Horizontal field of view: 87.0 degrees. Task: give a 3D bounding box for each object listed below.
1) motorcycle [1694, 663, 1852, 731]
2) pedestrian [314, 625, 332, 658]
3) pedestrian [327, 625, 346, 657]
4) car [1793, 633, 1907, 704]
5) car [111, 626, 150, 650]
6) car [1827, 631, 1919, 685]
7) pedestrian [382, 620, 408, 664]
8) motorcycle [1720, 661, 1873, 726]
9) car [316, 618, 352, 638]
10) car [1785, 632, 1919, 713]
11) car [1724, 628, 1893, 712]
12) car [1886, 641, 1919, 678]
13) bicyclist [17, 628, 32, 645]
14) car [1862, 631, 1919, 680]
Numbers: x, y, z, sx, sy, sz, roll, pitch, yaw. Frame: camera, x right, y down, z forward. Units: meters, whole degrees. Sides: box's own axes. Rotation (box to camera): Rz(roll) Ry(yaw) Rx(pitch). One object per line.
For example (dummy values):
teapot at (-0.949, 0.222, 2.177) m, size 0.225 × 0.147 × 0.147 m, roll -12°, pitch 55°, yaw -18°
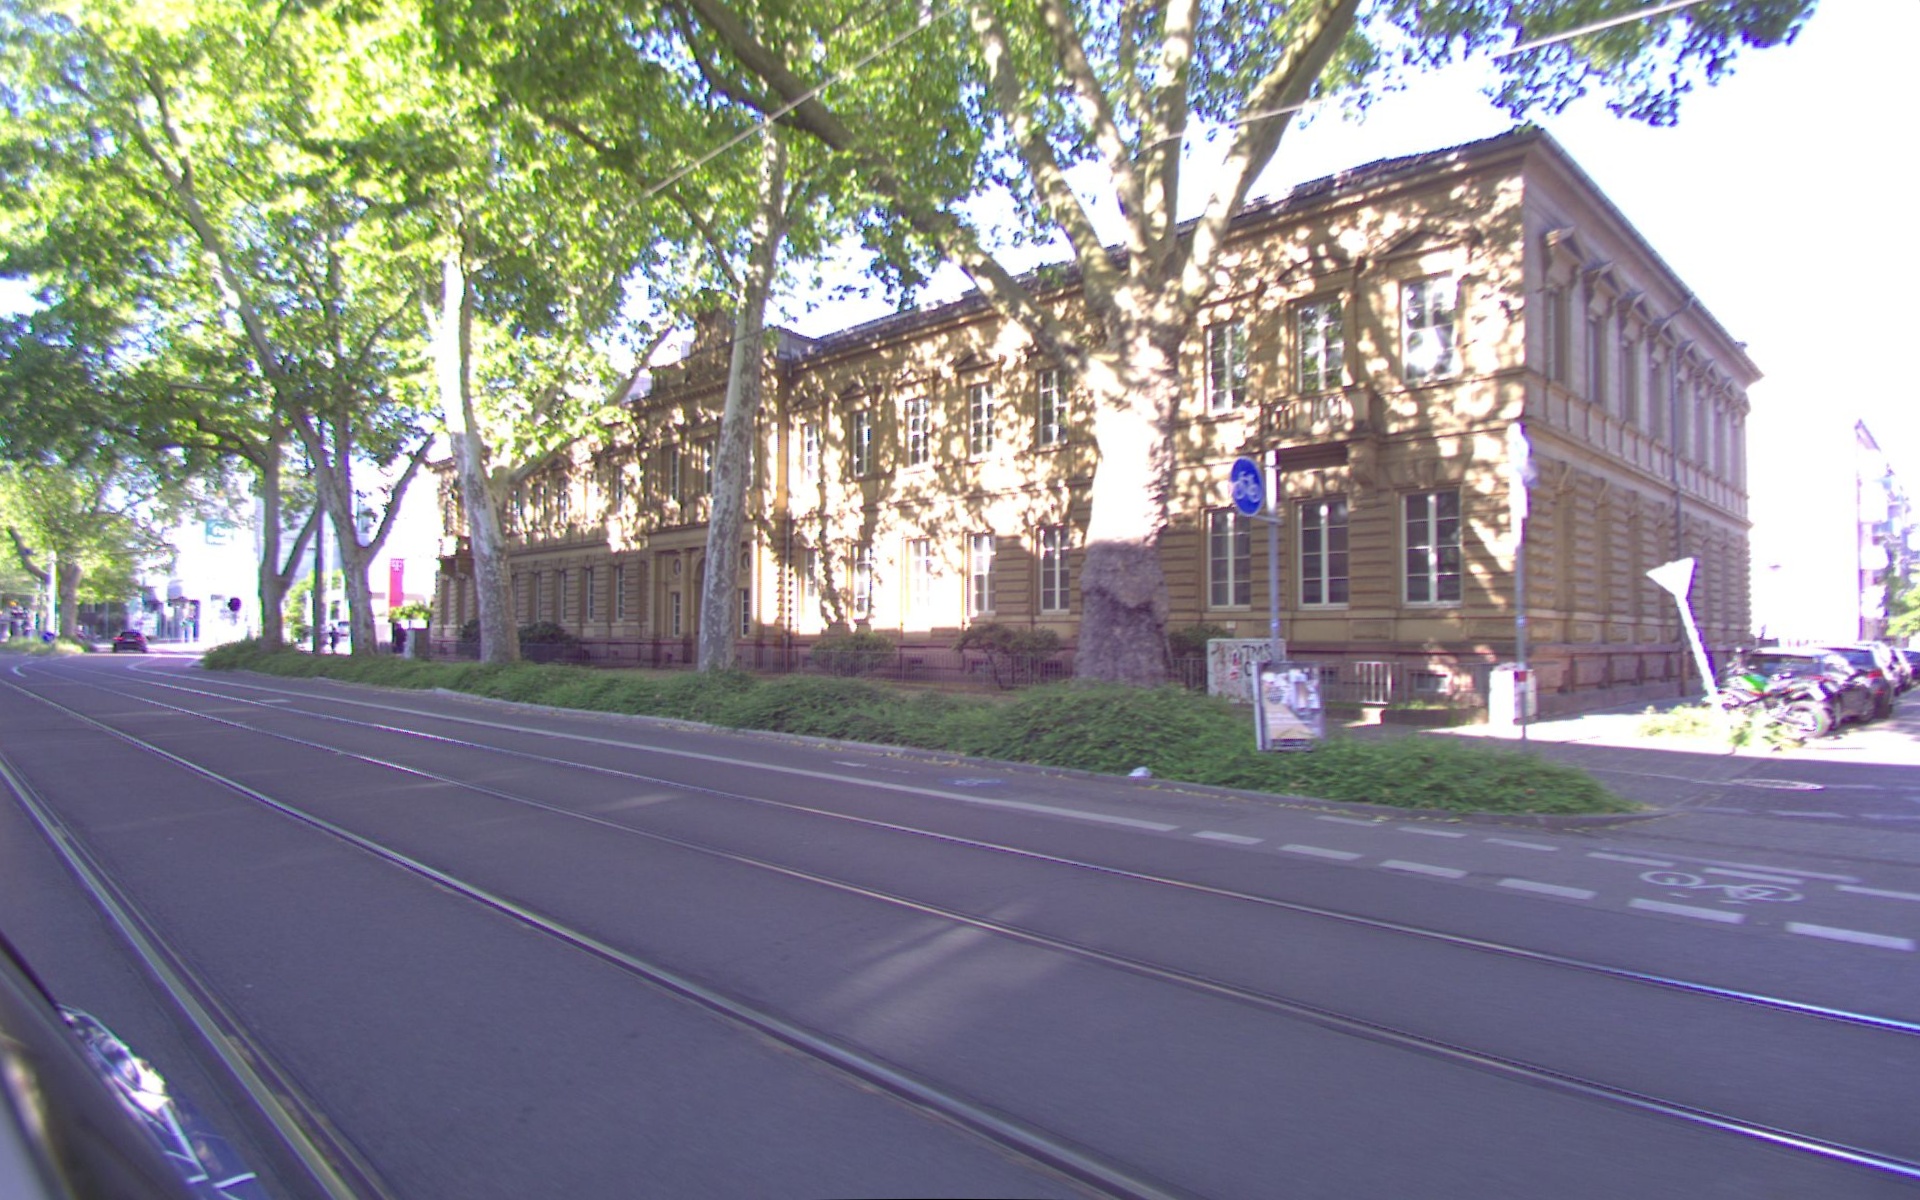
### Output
motorcycle at (13.712, 1.605, 17.134) m, size 0.710 × 0.984 × 1.959 m, roll -1°, pitch 0°, yaw -36°
pedestrian at (-34.300, 2.226, 54.490) m, size 0.655 × 1.710 × 0.628 m, roll -1°, pitch -2°, yaw 34°
pedestrian at (-33.923, 2.232, 55.054) m, size 0.660 × 1.710 × 0.665 m, roll -1°, pitch -2°, yaw 34°
car at (23.194, 1.714, 26.335) m, size 3.871 × 1.561 × 1.713 m, roll -1°, pitch 0°, yaw -41°
car at (-58.213, 2.697, 70.983) m, size 1.844 × 1.642 × 4.564 m, roll 2°, pitch -3°, yaw -43°
car at (26.628, 1.624, 29.349) m, size 3.871 × 1.342 × 1.704 m, roll -1°, pitch 0°, yaw -41°
pedestrian at (-24.161, 1.796, 43.291) m, size 0.837 × 1.863 × 0.712 m, roll -1°, pitch -2°, yaw 39°
motorcycle at (14.689, 1.616, 17.827) m, size 0.710 × 0.984 × 1.959 m, roll -1°, pitch 0°, yaw -36°
car at (-59.100, 2.658, 95.457) m, size 3.999 × 1.831 × 1.828 m, roll -1°, pitch -2°, yaw 42°
car at (19.882, 1.532, 22.425) m, size 3.871 × 1.502 × 1.850 m, roll -1°, pitch 0°, yaw -41°
car at (16.438, 1.275, 19.555) m, size 3.871 × 1.342 × 1.850 m, roll -1°, pitch 0°, yaw -40°
car at (39.515, 2.417, 41.492) m, size 3.871 × 1.342 × 1.850 m, roll -1°, pitch 0°, yaw -41°
bicyclist at (-88.009, 3.405, 95.215) m, size 0.760 × 1.588 × 0.994 m, roll -1°, pitch -2°, yaw 41°
car at (35.689, 2.049, 38.275) m, size 3.871 × 1.649 × 1.850 m, roll -1°, pitch 0°, yaw -41°
